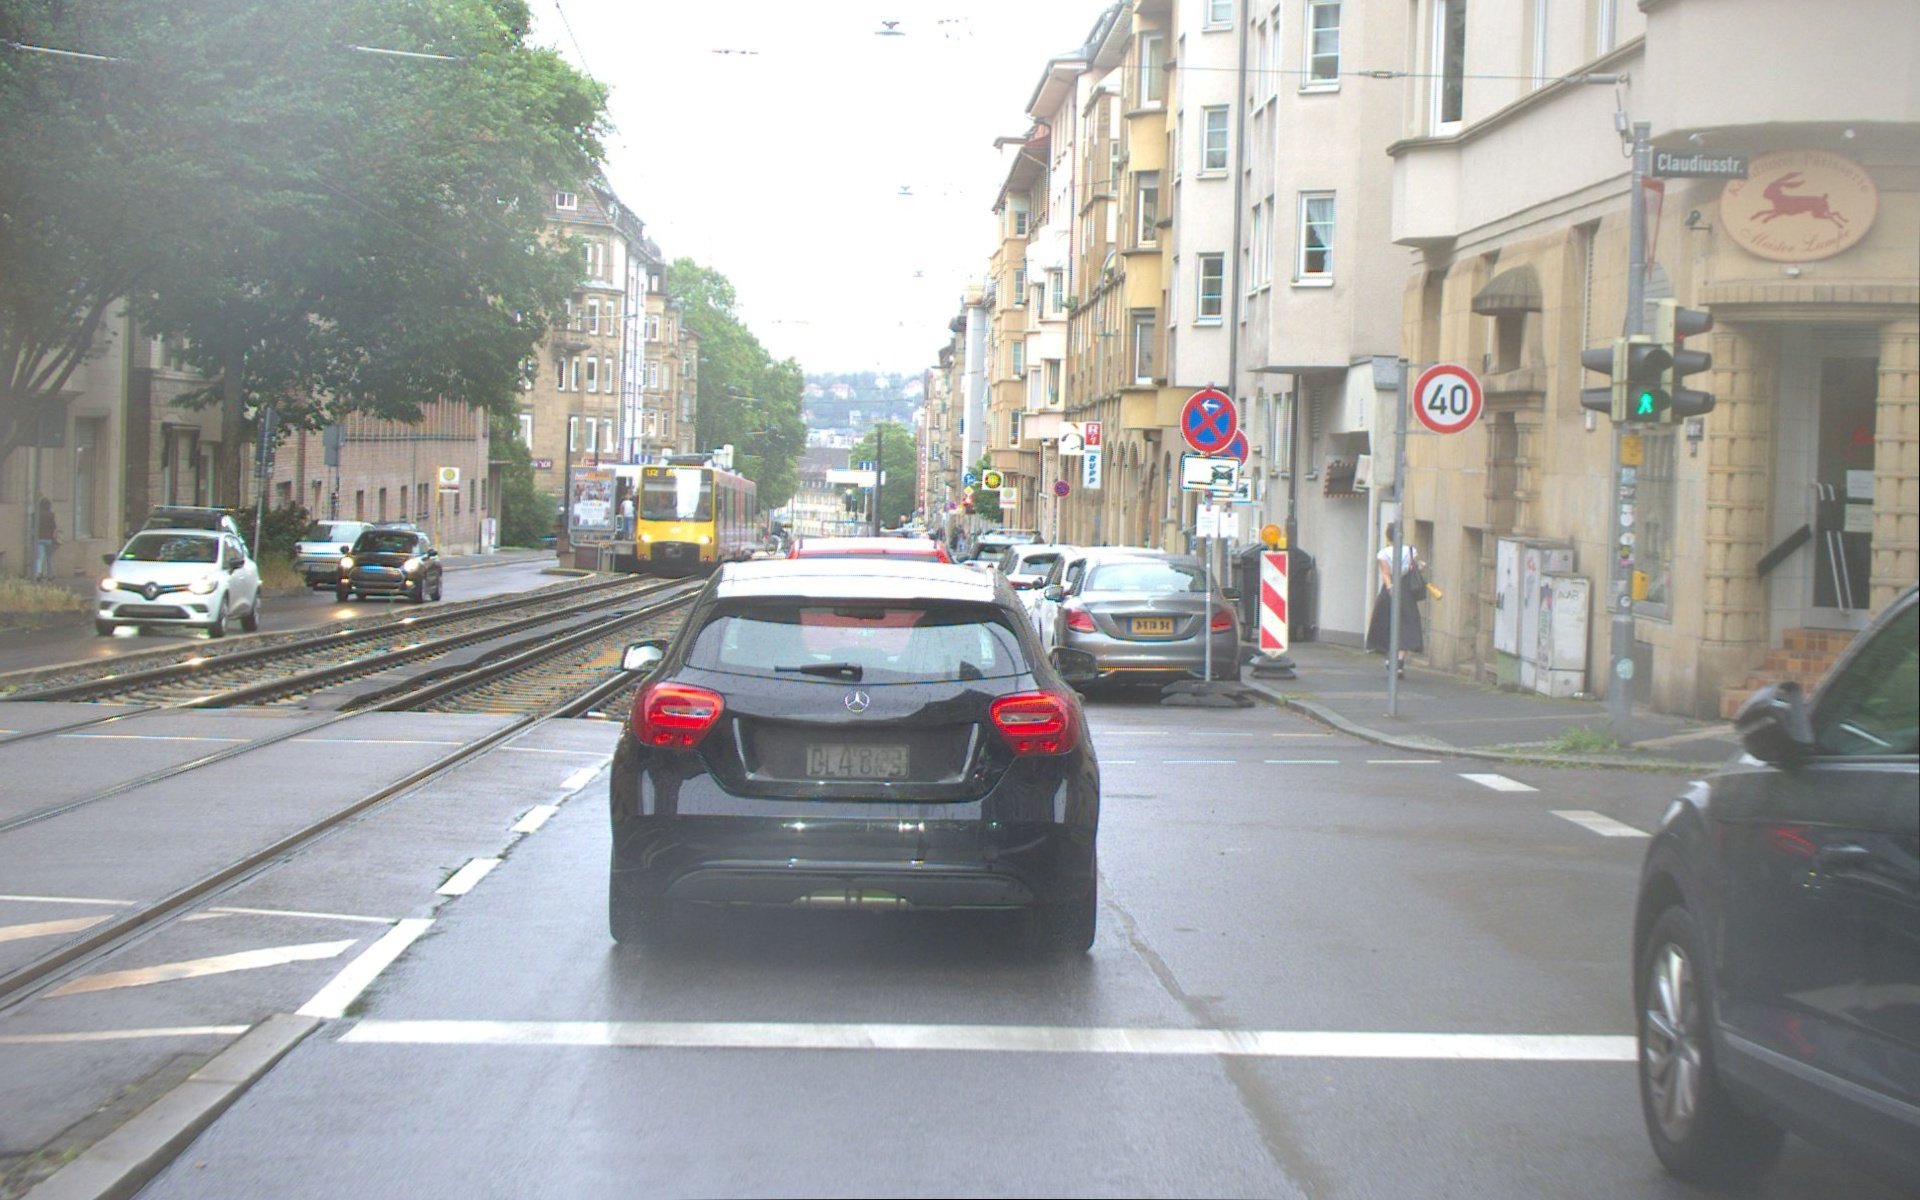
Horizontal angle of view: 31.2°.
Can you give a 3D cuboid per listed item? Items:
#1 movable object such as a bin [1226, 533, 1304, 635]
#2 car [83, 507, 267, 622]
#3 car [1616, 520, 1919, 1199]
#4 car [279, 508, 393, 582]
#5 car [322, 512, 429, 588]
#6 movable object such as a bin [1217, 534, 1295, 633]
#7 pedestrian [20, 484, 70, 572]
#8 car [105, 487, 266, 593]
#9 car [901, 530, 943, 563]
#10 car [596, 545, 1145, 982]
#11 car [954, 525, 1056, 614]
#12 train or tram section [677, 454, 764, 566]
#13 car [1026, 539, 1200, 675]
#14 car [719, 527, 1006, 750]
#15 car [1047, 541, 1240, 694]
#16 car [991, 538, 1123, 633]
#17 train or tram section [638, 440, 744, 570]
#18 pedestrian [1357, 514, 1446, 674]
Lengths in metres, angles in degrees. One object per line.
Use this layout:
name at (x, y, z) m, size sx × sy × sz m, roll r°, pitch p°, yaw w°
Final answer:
movable object such as a bin at (4.499, -0.239, 50.818) m, size 0.980 × 1.463 × 1.273 m, roll 1°, pitch 0°, yaw -1°
car at (-10.849, -0.490, 47.741) m, size 1.780 × 1.497 × 4.063 m, roll 1°, pitch 0°, yaw -3°
car at (2.659, 0.651, 6.744) m, size 1.867 × 1.543 × 3.991 m, roll 2°, pitch 1°, yaw -1°
car at (-14.545, -1.304, 80.338) m, size 1.961 × 1.600 × 4.329 m, roll 2°, pitch 1°, yaw -2°
car at (-11.577, -1.007, 68.269) m, size 1.653 × 1.457 × 3.735 m, roll 0°, pitch 1°, yaw -3°
movable object such as a bin at (4.492, -0.251, 52.315) m, size 1.018 × 1.463 × 1.323 m, roll 1°, pitch 0°, yaw -1°
pedestrian at (-17.608, -1.385, 66.143) m, size 0.728 × 1.657 × 0.771 m, roll 2°, pitch 1°, yaw -2°
car at (-14.159, -1.125, 63.071) m, size 1.953 × 1.736 × 4.780 m, roll 4°, pitch 1°, yaw -3°
car at (-1.813, -2.550, 164.501) m, size 1.887 × 1.520 × 4.245 m, roll 2°, pitch 1°, yaw 1°
car at (-0.335, 0.528, 13.628) m, size 1.834 × 1.448 × 3.902 m, roll 1°, pitch 1°, yaw -1°
car at (0.865, -0.574, 65.478) m, size 1.841 × 1.602 × 4.760 m, roll 1°, pitch 0°, yaw 1°
train or tram section at (-9.190, -3.476, 133.414) m, size 2.745 × 4.048 × 15.663 m, roll 1°, pitch 1°, yaw -2°
car at (1.715, 0.056, 39.945) m, size 1.712 × 1.463 × 4.774 m, roll 1°, pitch 0°, yaw -1°
car at (-0.731, 0.241, 26.655) m, size 1.993 × 1.520 × 4.246 m, roll 2°, pitch 1°, yaw -1°
car at (1.776, 0.142, 34.578) m, size 1.711 × 1.405 × 4.817 m, roll 1°, pitch 0°, yaw 1°
car at (1.457, -0.233, 53.003) m, size 1.789 × 1.381 × 4.395 m, roll 1°, pitch 0°, yaw -1°
train or tram section at (-9.014, -3.193, 116.972) m, size 2.745 × 4.048 × 17.216 m, roll 1°, pitch 1°, yaw -2°
pedestrian at (4.709, -0.067, 36.728) m, size 0.804 × 1.681 × 0.754 m, roll 1°, pitch 0°, yaw -2°
